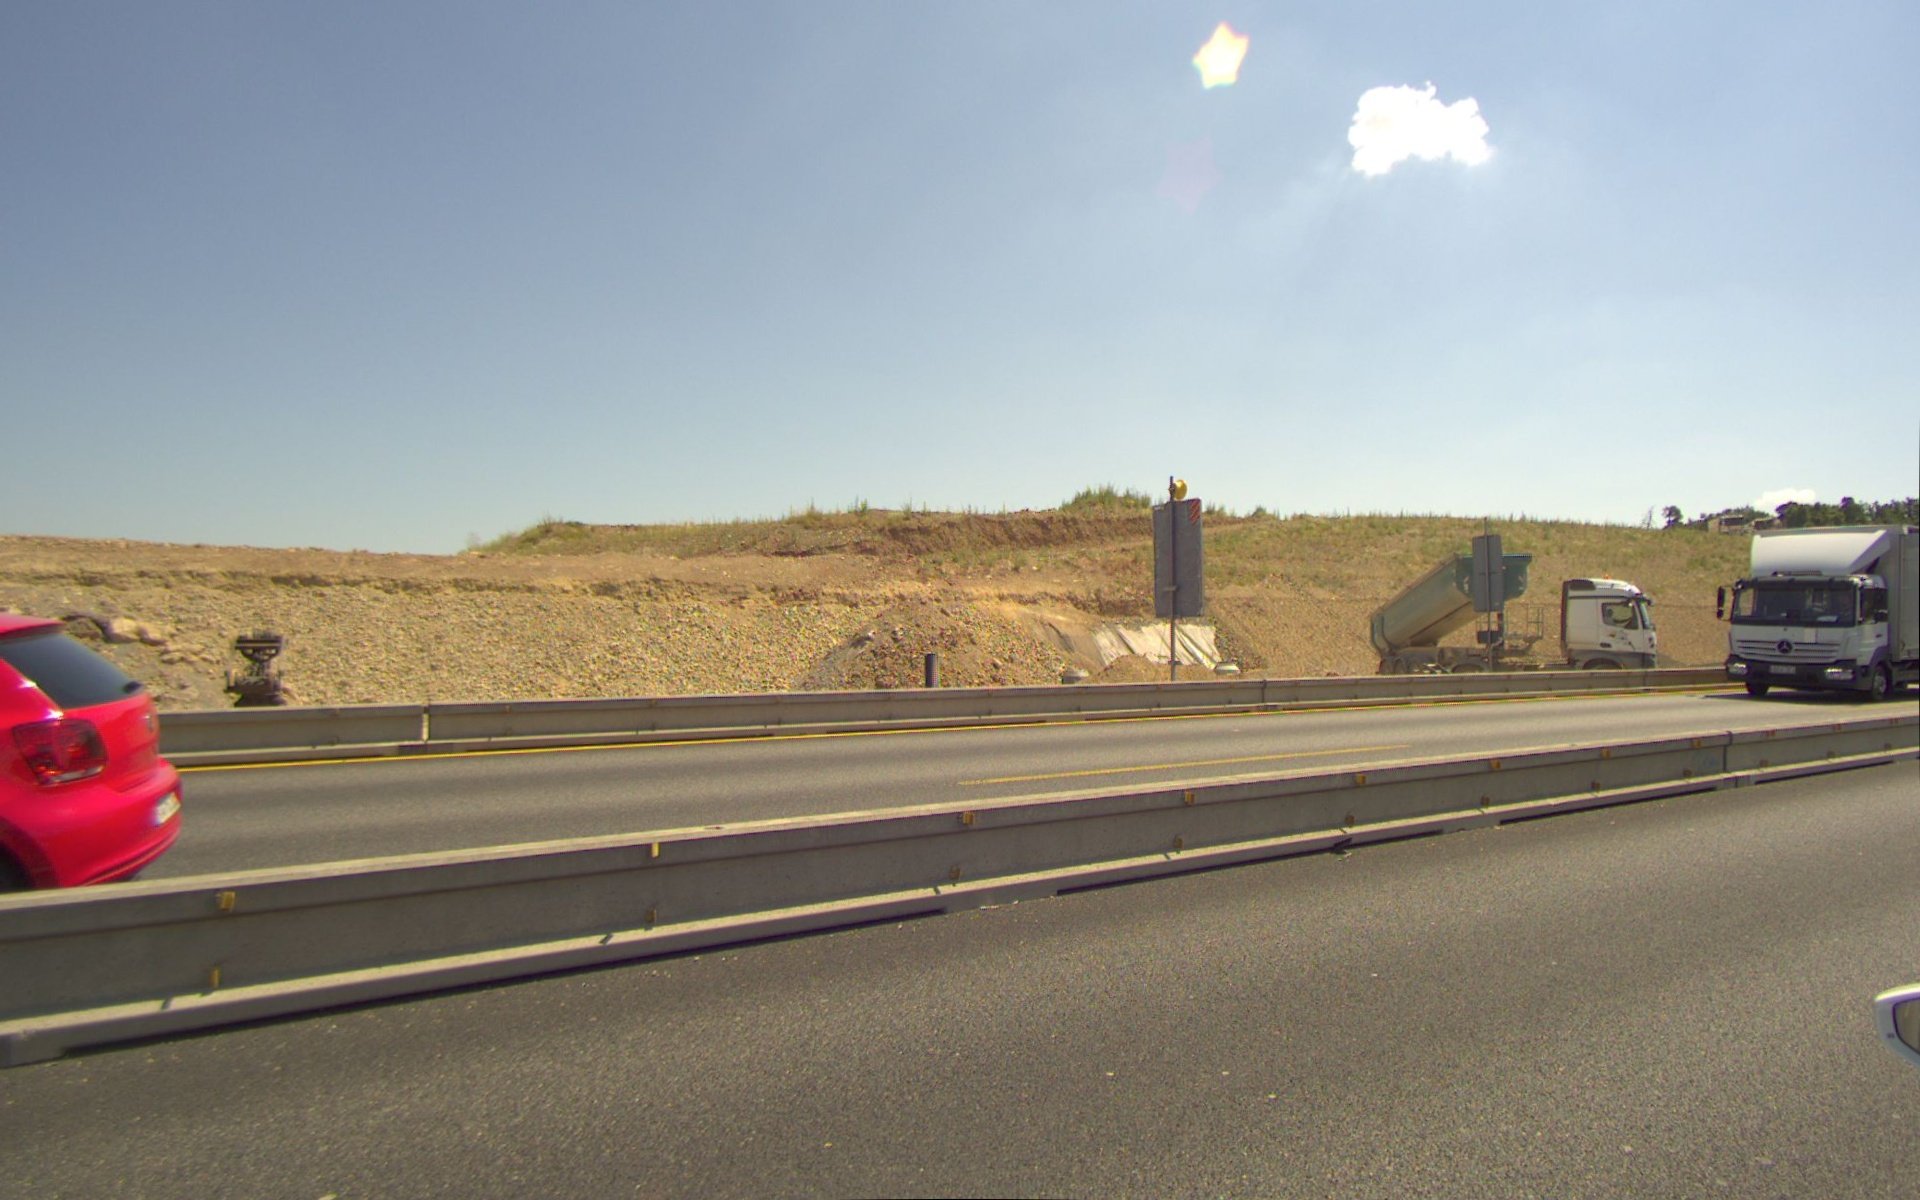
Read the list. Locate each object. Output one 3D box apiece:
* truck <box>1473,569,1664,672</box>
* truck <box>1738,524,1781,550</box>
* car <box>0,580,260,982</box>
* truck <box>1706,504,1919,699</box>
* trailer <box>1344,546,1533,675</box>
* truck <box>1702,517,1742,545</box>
[{"bbox_3d":[19.262,0.581,31.903,4.978,3.003,2.579,1,0,35],"label":"truck"},{"bbox_3d":[107.339,-8.418,134.977,2.259,2.785,8.900,1,0,24],"label":"truck"},{"bbox_3d":[-5.169,0.637,3.765,4.006,1.504,1.619,2,0,-30],"label":"car"},{"bbox_3d":[20.820,0.141,22.919,9.372,3.766,2.632,2,0,-30],"label":"truck"},{"bbox_3d":[17.315,0.379,37.142,2.745,4.152,8.368,1,0,-1],"label":"trailer"},{"bbox_3d":[100.002,-8.988,132.013,2.317,2.937,8.362,1,0,24],"label":"truck"}]
